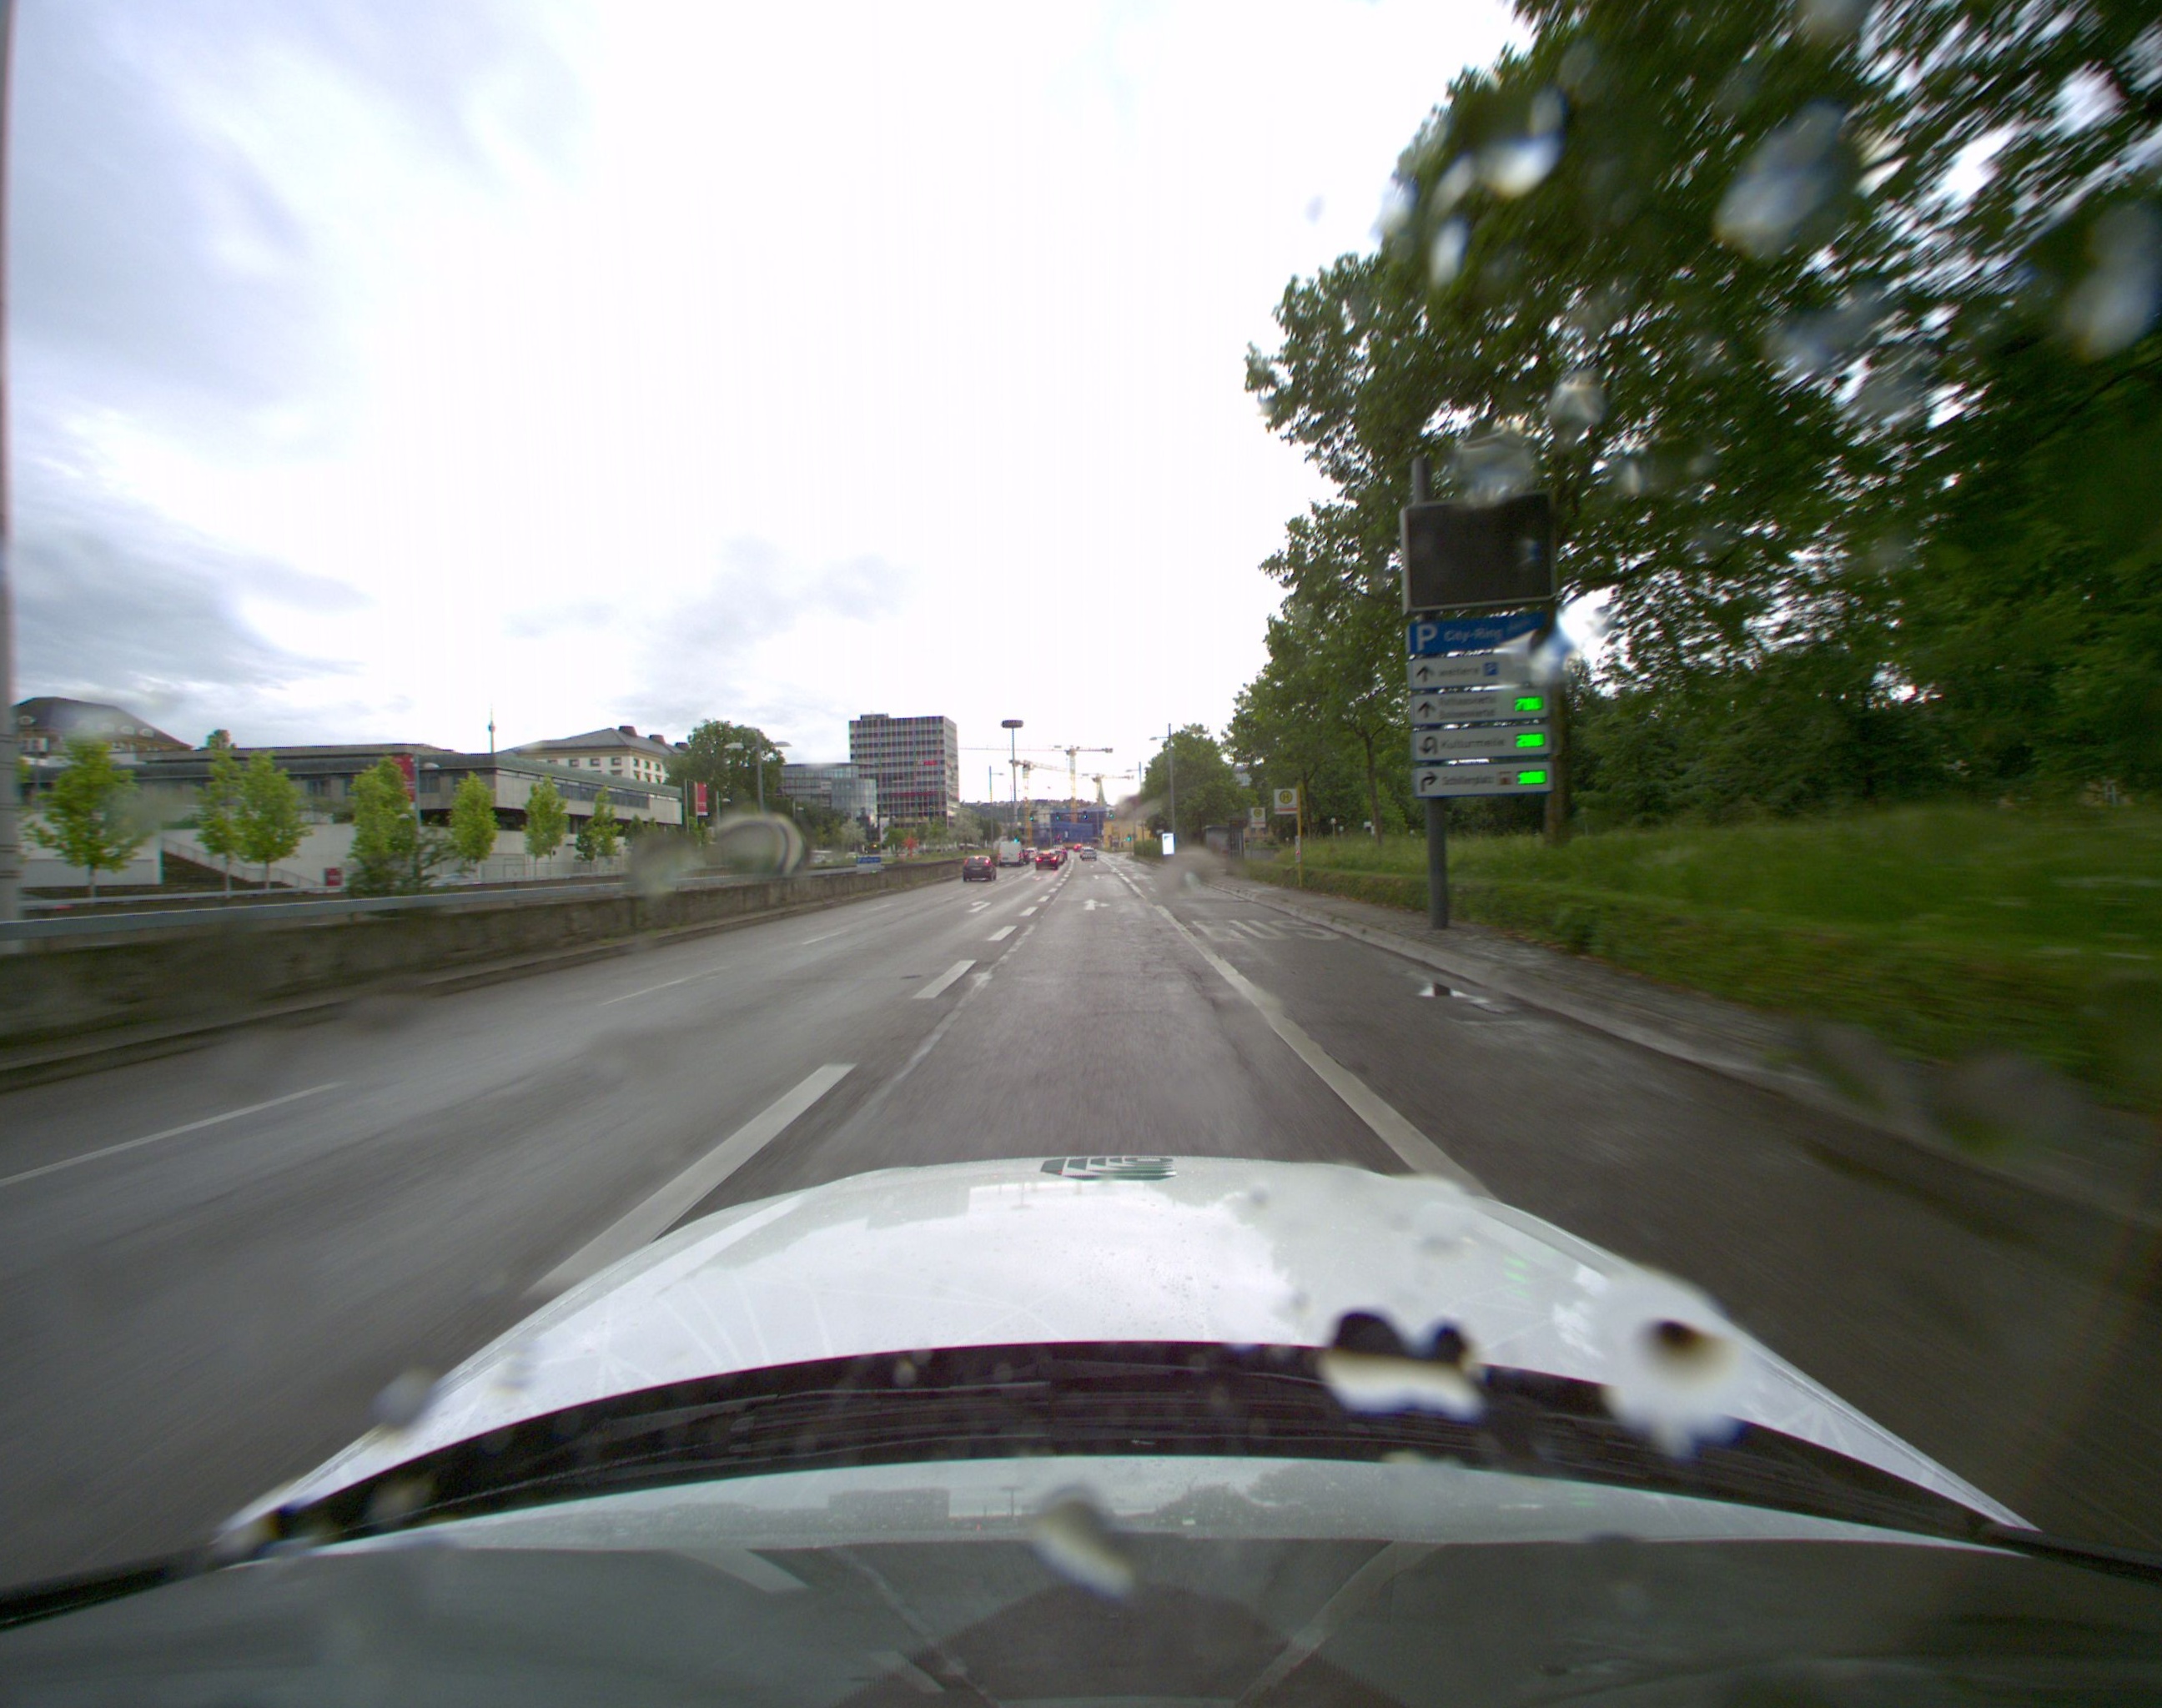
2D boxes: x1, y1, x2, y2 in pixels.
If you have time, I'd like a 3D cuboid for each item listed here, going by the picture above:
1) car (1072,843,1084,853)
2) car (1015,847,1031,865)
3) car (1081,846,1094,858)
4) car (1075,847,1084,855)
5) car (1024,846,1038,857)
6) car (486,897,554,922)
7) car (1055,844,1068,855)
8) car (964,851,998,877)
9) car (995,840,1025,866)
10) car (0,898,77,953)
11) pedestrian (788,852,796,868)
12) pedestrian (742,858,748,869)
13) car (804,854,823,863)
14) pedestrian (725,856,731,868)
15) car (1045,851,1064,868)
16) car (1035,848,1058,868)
[{"bbox_3d":[-0.597,-1.191,160.648,2.152,1.879,3.773,-1,-1,3],"label":"car"},{"bbox_3d":[-5.856,0.228,82.360,1.460,1.706,3.138,-1,-1,-2],"label":"car"},{"bbox_3d":[0.770,-0.187,95.436,1.438,1.359,2.414,-1,-1,3],"label":"car"},{"bbox_3d":[-0.211,-0.384,107.141,1.072,0.990,1.973,-1,-2,3],"label":"car"},{"bbox_3d":[-5.874,-0.311,96.135,1.546,1.260,2.579,-1,-1,0],"label":"car"},{"bbox_3d":[-29.858,2.952,43.429,1.483,1.129,3.050,-1,-1,-1],"label":"car"},{"bbox_3d":[-2.381,-0.546,99.582,1.489,1.369,3.032,-1,-1,0],"label":"car"},{"bbox_3d":[-5.809,0.570,47.708,1.538,1.415,3.899,-1,-1,-1],"label":"car"},{"bbox_3d":[-6.587,-0.066,75.880,2.285,2.314,5.005,-1,-1,0],"label":"car"},{"bbox_3d":[-33.142,2.199,24.459,1.690,1.556,3.472,-1,-1,-3],"label":"car"},{"bbox_3d":[-40.134,0.788,113.018,0.729,2.090,0.761,-4,6,-36],"label":"pedestrian"},{"bbox_3d":[-43.558,1.263,105.537,0.489,1.423,0.634,-1,-1,6],"label":"pedestrian"},{"bbox_3d":[-36.868,0.659,112.285,1.402,1.255,3.168,-1,-1,3],"label":"car"},{"bbox_3d":[-41.947,0.958,96.786,0.464,1.383,0.578,-1,-1,9],"label":"pedestrian"},{"bbox_3d":[-2.680,0.536,81.151,1.876,1.653,3.454,-1,-1,-3],"label":"car"},{"bbox_3d":[-2.824,0.309,66.978,1.748,1.471,4.220,-1,1,-1],"label":"car"}]
